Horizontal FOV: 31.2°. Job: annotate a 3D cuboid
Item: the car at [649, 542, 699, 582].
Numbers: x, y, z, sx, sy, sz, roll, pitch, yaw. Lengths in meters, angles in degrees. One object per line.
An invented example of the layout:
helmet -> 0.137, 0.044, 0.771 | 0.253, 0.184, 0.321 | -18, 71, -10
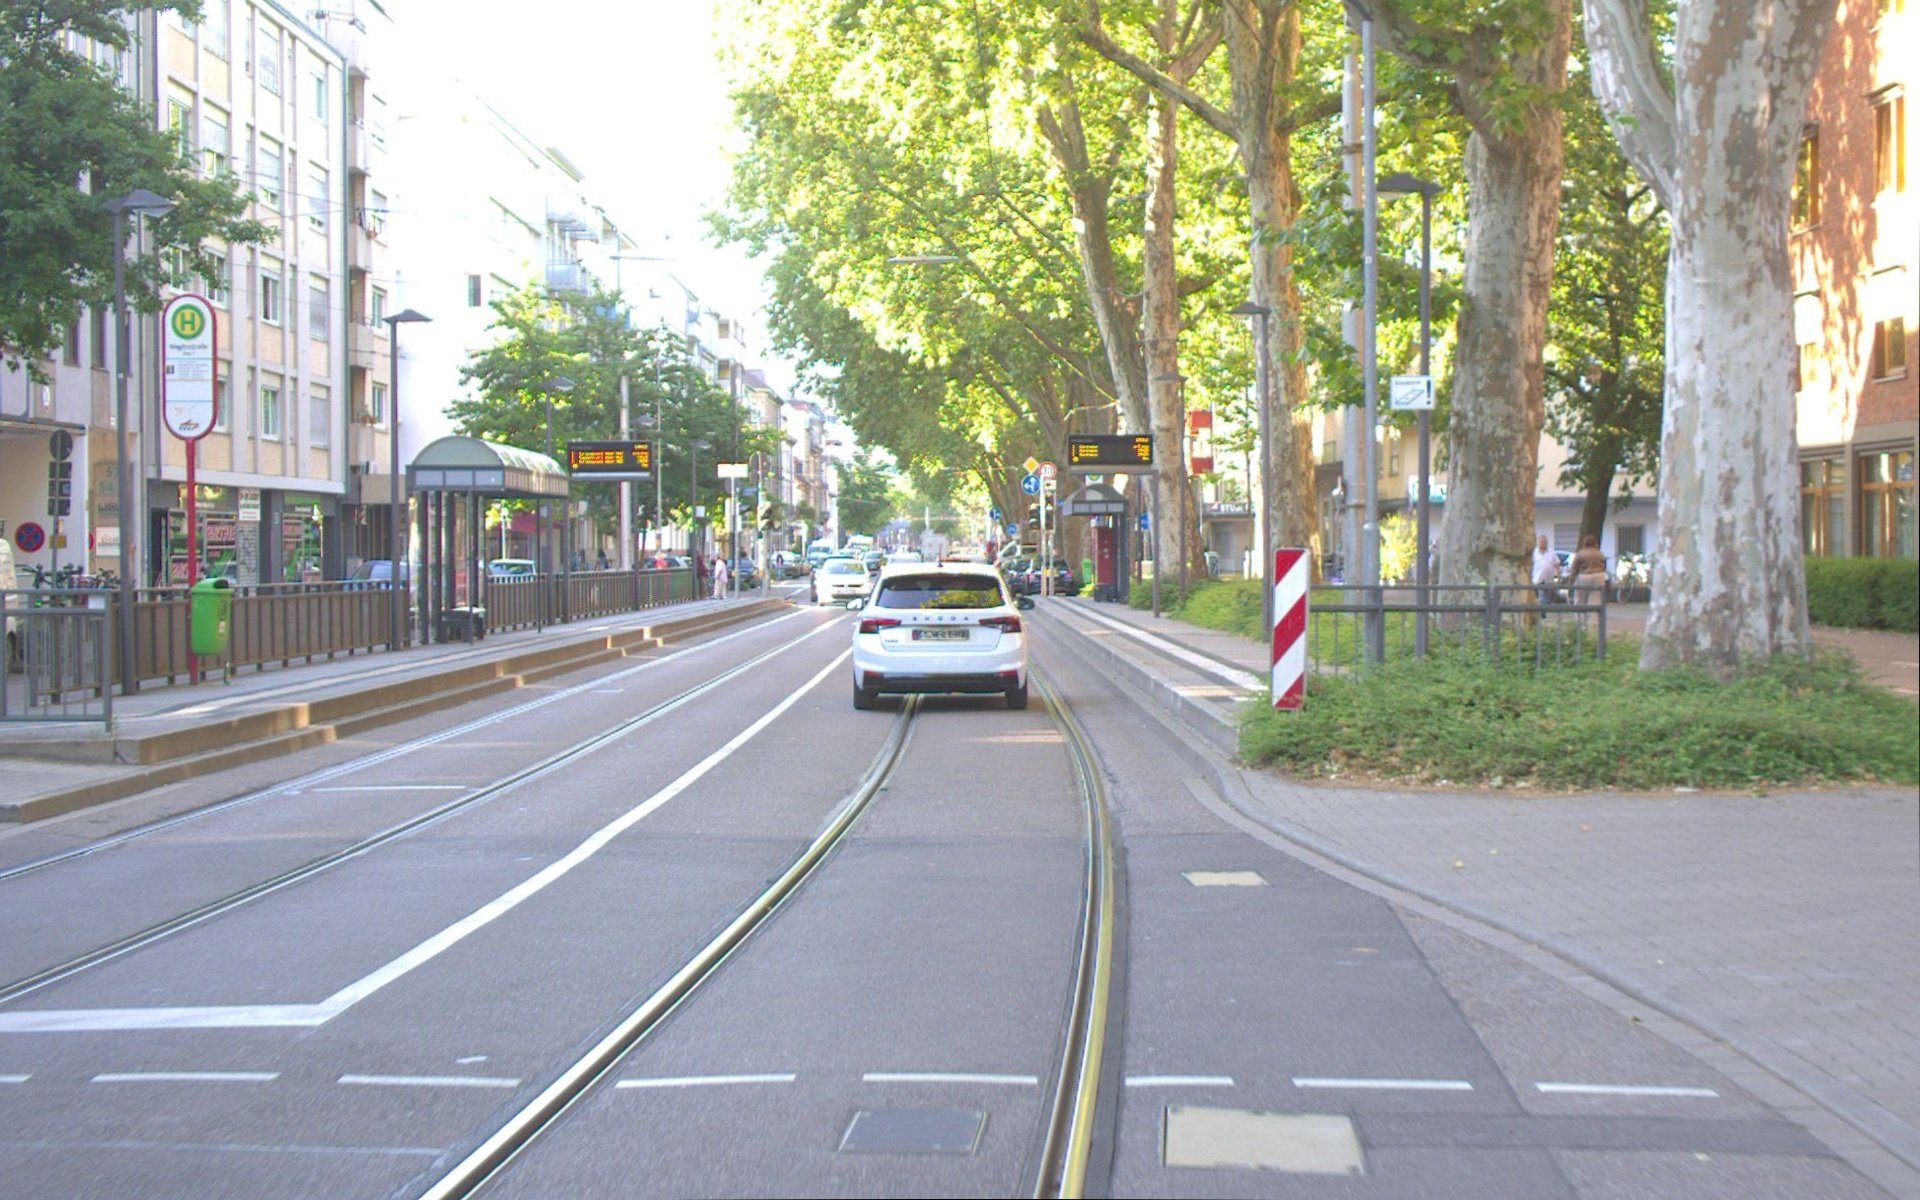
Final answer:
car -> -11.657, -1.547, 140.293 | 1.678, 1.543, 4.000 | 2, 1, 0

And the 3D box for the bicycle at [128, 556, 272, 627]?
bicycle -> -12.821, -0.144, 58.030 | 2.253, 1.070, 0.636 | 3, 1, 1

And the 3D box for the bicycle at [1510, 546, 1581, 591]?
bicycle -> 13.694, -0.743, 80.398 | 1.568, 1.034, 0.504 | 0, 1, 22

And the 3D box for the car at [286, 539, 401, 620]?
car -> -12.558, -0.449, 70.184 | 1.593, 1.543, 4.000 | 2, 1, 0

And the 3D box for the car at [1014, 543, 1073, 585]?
car -> 2.975, -1.302, 122.552 | 1.993, 1.448, 4.000 | 0, 1, 0

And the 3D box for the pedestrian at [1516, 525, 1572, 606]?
pedestrian -> 11.853, -0.706, 69.801 | 0.972, 1.618, 0.887 | -1, 1, 0

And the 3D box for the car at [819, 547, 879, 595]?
car -> -3.381, -0.905, 105.162 | 1.694, 1.414, 4.000 | 0, 1, 0

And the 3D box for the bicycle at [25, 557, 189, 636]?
bicycle -> -12.791, -0.055, 51.571 | 2.253, 1.070, 0.636 | 3, 1, 1

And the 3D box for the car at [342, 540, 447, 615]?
car -> -12.337, -0.515, 75.137 | 1.593, 1.543, 4.000 | 2, 1, 0

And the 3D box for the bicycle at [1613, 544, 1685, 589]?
bicycle -> 15.939, -0.782, 79.545 | 1.568, 1.034, 0.479 | 0, 1, 22

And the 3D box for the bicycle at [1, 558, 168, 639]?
bicycle -> -12.814, -0.027, 50.341 | 2.253, 1.070, 0.636 | 3, 1, 1

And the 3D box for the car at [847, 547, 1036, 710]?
car -> -0.177, 0.241, 34.613 | 1.788, 1.508, 4.000 | 0, 1, 0

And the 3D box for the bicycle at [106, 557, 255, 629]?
bicycle -> -12.790, -0.118, 56.412 | 2.253, 1.070, 0.636 | 3, 1, 1

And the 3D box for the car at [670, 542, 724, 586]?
car -> -9.811, -1.362, 128.331 | 1.678, 1.543, 4.000 | 2, 1, 0

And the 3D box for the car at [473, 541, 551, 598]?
car -> -12.821, -0.881, 98.504 | 1.678, 1.543, 4.000 | 2, 1, 0

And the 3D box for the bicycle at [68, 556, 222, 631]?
bicycle -> -12.935, -0.103, 54.582 | 2.253, 1.070, 0.636 | 3, 1, 1

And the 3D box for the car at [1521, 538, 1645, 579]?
car -> 21.582, -1.436, 119.141 | 3.987, 1.368, 1.867 | 0, 1, 1

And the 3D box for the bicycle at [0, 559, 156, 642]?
bicycle -> -12.715, 0.004, 49.137 | 2.253, 1.070, 0.636 | 3, 1, 1

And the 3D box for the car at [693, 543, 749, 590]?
car -> -8.380, -1.195, 120.771 | 1.678, 1.543, 4.000 | 2, 1, 0

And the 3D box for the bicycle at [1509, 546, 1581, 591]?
bicycle -> 13.527, -0.728, 79.484 | 1.568, 1.034, 0.479 | 0, 1, 22

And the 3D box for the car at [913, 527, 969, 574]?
car -> -0.622, -1.627, 112.162 | 1.788, 1.508, 4.000 | 0, 1, 0

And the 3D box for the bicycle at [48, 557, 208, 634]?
bicycle -> -12.783, -0.075, 52.834 | 2.253, 1.070, 0.636 | 3, 1, 1

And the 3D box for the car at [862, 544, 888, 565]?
car -> -6.216, -3.385, 252.805 | 1.788, 1.508, 4.000 | 0, 1, 0

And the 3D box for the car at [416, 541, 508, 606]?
car -> -12.483, -0.690, 86.345 | 1.678, 1.543, 4.000 | 2, 1, 0

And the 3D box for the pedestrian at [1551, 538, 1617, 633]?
pedestrian -> 10.813, -0.253, 59.567 | 0.972, 1.618, 0.887 | -1, 1, 0

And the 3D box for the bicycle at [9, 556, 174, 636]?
bicycle -> -12.867, -0.063, 50.959 | 2.253, 1.070, 0.636 | 3, 1, 1

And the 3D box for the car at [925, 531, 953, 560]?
car -> -1.440, -3.724, 234.341 | 1.866, 1.886, 4.000 | 0, 1, 0

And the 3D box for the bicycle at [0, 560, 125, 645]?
bicycle -> -12.760, 0.017, 47.489 | 2.253, 1.070, 0.636 | 3, 1, 1

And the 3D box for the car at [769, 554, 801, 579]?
car -> -10.993, -2.118, 216.569 | 1.788, 1.508, 4.000 | 0, 1, 0

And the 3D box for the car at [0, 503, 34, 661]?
car -> -12.584, -0.206, 41.533 | 1.688, 1.933, 4.000 | -1, 1, 0

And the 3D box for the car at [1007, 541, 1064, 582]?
car -> 2.788, -1.447, 127.639 | 1.993, 1.448, 4.000 | 0, 1, 0

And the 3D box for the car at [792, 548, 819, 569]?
car -> -11.339, -3.036, 251.917 | 1.788, 1.508, 4.000 | 0, 1, 0
